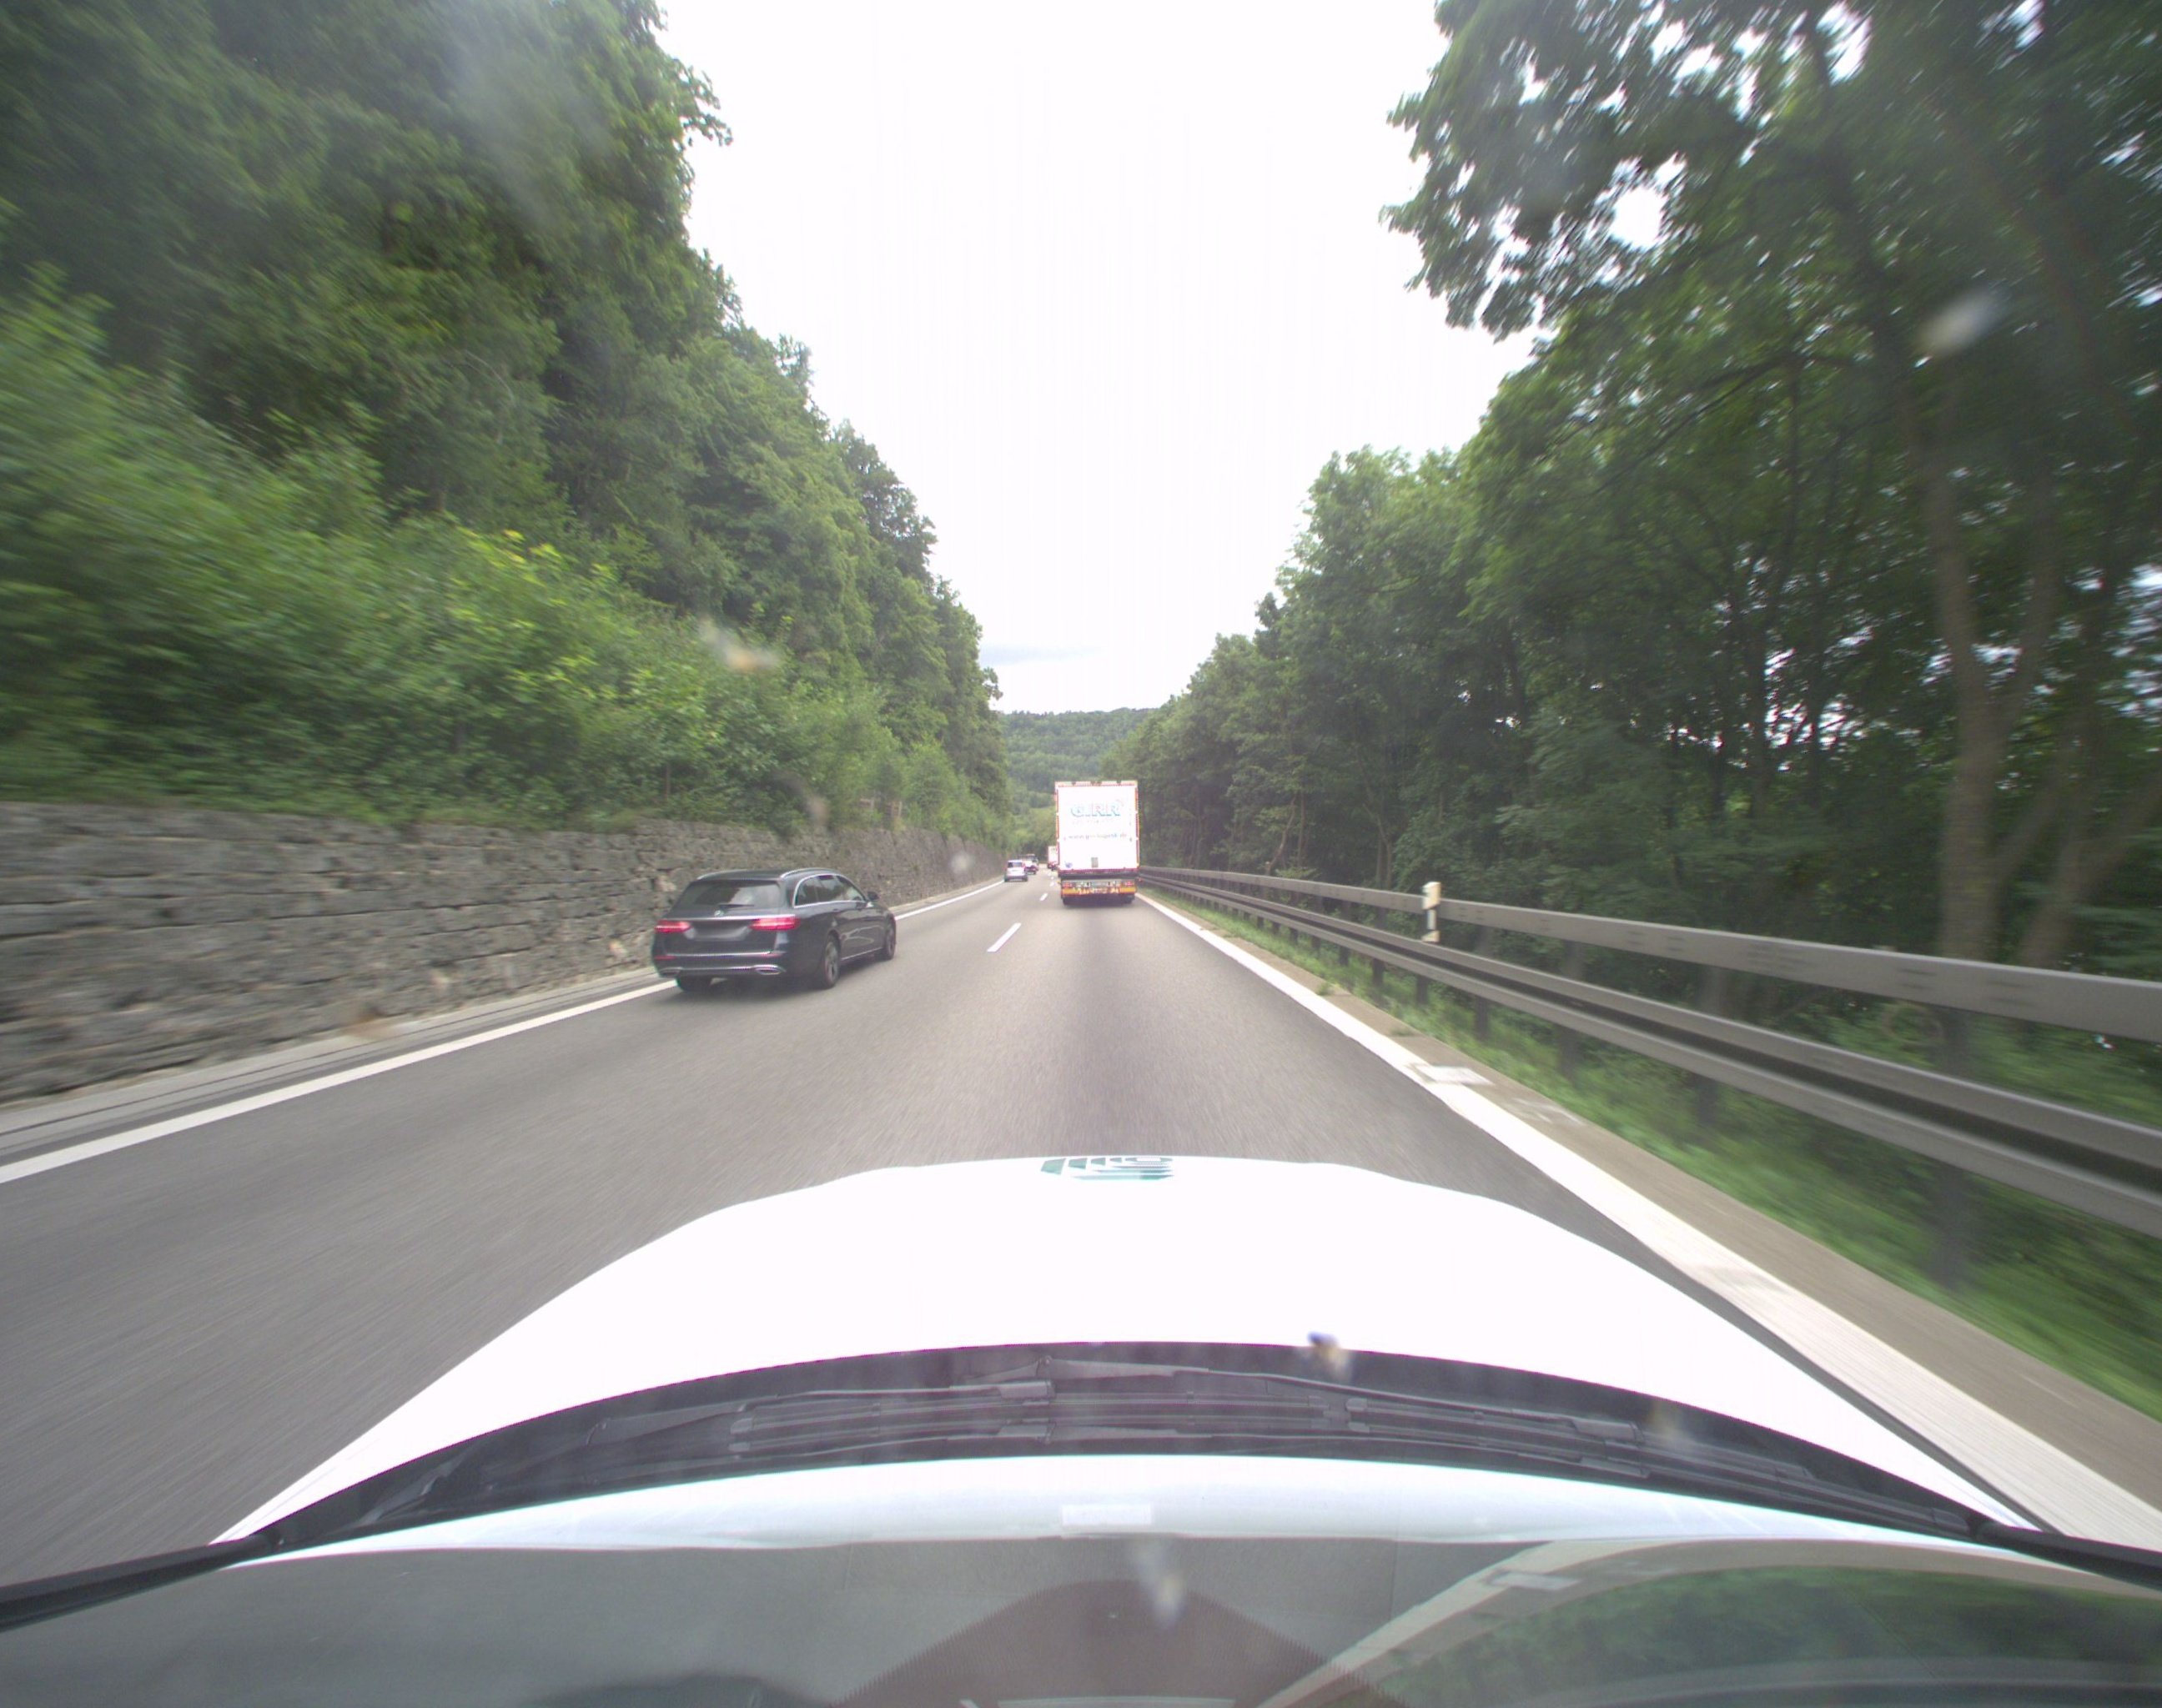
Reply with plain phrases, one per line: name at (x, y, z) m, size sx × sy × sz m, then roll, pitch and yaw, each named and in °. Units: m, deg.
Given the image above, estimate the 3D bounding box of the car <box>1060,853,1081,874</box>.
car at (-1.059, 0.938, 79.173) m, size 1.988 × 2.014 × 4.330 m, roll 1°, pitch -1°, yaw -1°

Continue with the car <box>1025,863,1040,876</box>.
car at (-7.323, 2.331, 122.983) m, size 2.013 × 1.914 × 5.559 m, roll 1°, pitch -1°, yaw -2°

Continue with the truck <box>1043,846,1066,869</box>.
truck at (-4.646, 0.623, 141.100) m, size 3.066 × 3.877 × 8.437 m, roll 1°, pitch -1°, yaw -7°

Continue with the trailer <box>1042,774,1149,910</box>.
trailer at (0.382, -0.335, 29.658) m, size 3.124 × 4.043 × 9.434 m, roll 2°, pitch 0°, yaw -1°

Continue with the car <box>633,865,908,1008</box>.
car at (-3.857, 0.913, 11.244) m, size 1.754 × 1.463 × 5.123 m, roll -1°, pitch 0°, yaw 1°

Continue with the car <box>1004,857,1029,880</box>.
car at (-4.864, 1.090, 61.669) m, size 1.629 × 1.727 × 4.342 m, roll 0°, pitch -1°, yaw -1°

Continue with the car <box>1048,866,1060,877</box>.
car at (-4.961, 3.281, 149.886) m, size 1.990 × 2.014 × 3.993 m, roll 1°, pitch -1°, yaw -5°

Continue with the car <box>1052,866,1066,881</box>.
car at (-3.220, 2.787, 117.313) m, size 1.988 × 2.014 × 3.996 m, roll 1°, pitch -1°, yaw -2°

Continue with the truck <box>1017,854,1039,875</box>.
truck at (-5.978, 1.198, 92.012) m, size 2.344 × 2.274 × 6.841 m, roll 1°, pitch -1°, yaw -3°

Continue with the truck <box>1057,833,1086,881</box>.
truck at (-0.733, 0.305, 68.136) m, size 2.226 × 3.804 × 6.821 m, roll 1°, pitch -1°, yaw 0°
